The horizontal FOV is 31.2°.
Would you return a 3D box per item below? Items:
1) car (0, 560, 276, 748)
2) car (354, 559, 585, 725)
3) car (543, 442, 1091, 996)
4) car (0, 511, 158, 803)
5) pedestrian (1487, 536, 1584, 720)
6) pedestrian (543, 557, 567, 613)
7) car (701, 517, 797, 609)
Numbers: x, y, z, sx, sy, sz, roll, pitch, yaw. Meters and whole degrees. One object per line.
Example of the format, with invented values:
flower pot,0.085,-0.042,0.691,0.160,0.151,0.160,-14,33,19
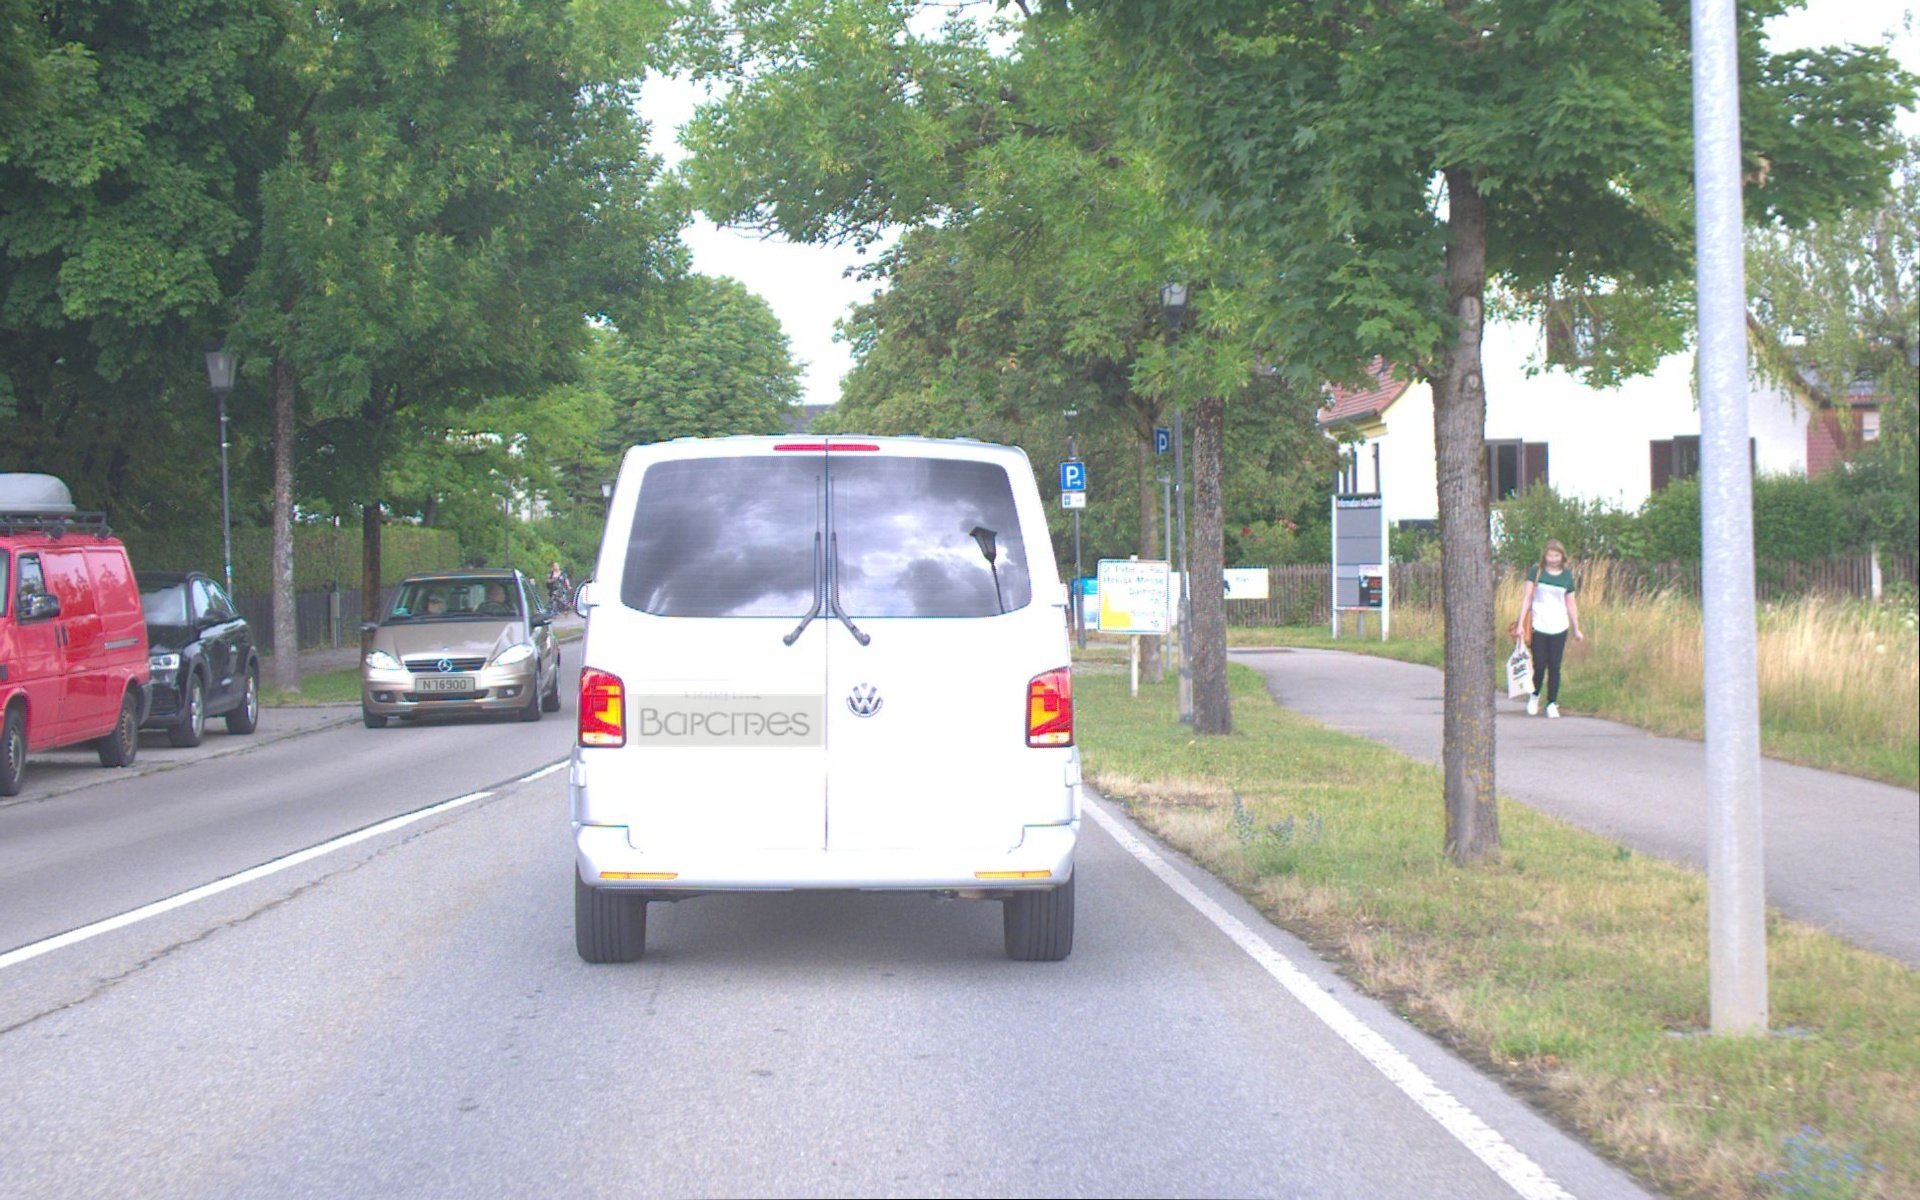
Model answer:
car,-7.646,0.442,31.986,1.771,1.592,4.238,0,1,-1
car,-5.026,0.393,35.656,1.707,1.527,3.507,-3,1,2
car,-0.549,0.393,13.888,1.887,1.905,4.000,0,0,-2
car,-7.582,0.343,26.087,1.830,2.023,5.046,1,1,0
pedestrian,5.561,0.263,33.255,0.837,1.749,0.869,0,1,4
pedestrian,-11.302,-0.426,95.944,0.622,1.544,0.522,1,0,-5
car,-4.729,-0.833,77.445,1.993,2.007,4.000,1,0,-1
